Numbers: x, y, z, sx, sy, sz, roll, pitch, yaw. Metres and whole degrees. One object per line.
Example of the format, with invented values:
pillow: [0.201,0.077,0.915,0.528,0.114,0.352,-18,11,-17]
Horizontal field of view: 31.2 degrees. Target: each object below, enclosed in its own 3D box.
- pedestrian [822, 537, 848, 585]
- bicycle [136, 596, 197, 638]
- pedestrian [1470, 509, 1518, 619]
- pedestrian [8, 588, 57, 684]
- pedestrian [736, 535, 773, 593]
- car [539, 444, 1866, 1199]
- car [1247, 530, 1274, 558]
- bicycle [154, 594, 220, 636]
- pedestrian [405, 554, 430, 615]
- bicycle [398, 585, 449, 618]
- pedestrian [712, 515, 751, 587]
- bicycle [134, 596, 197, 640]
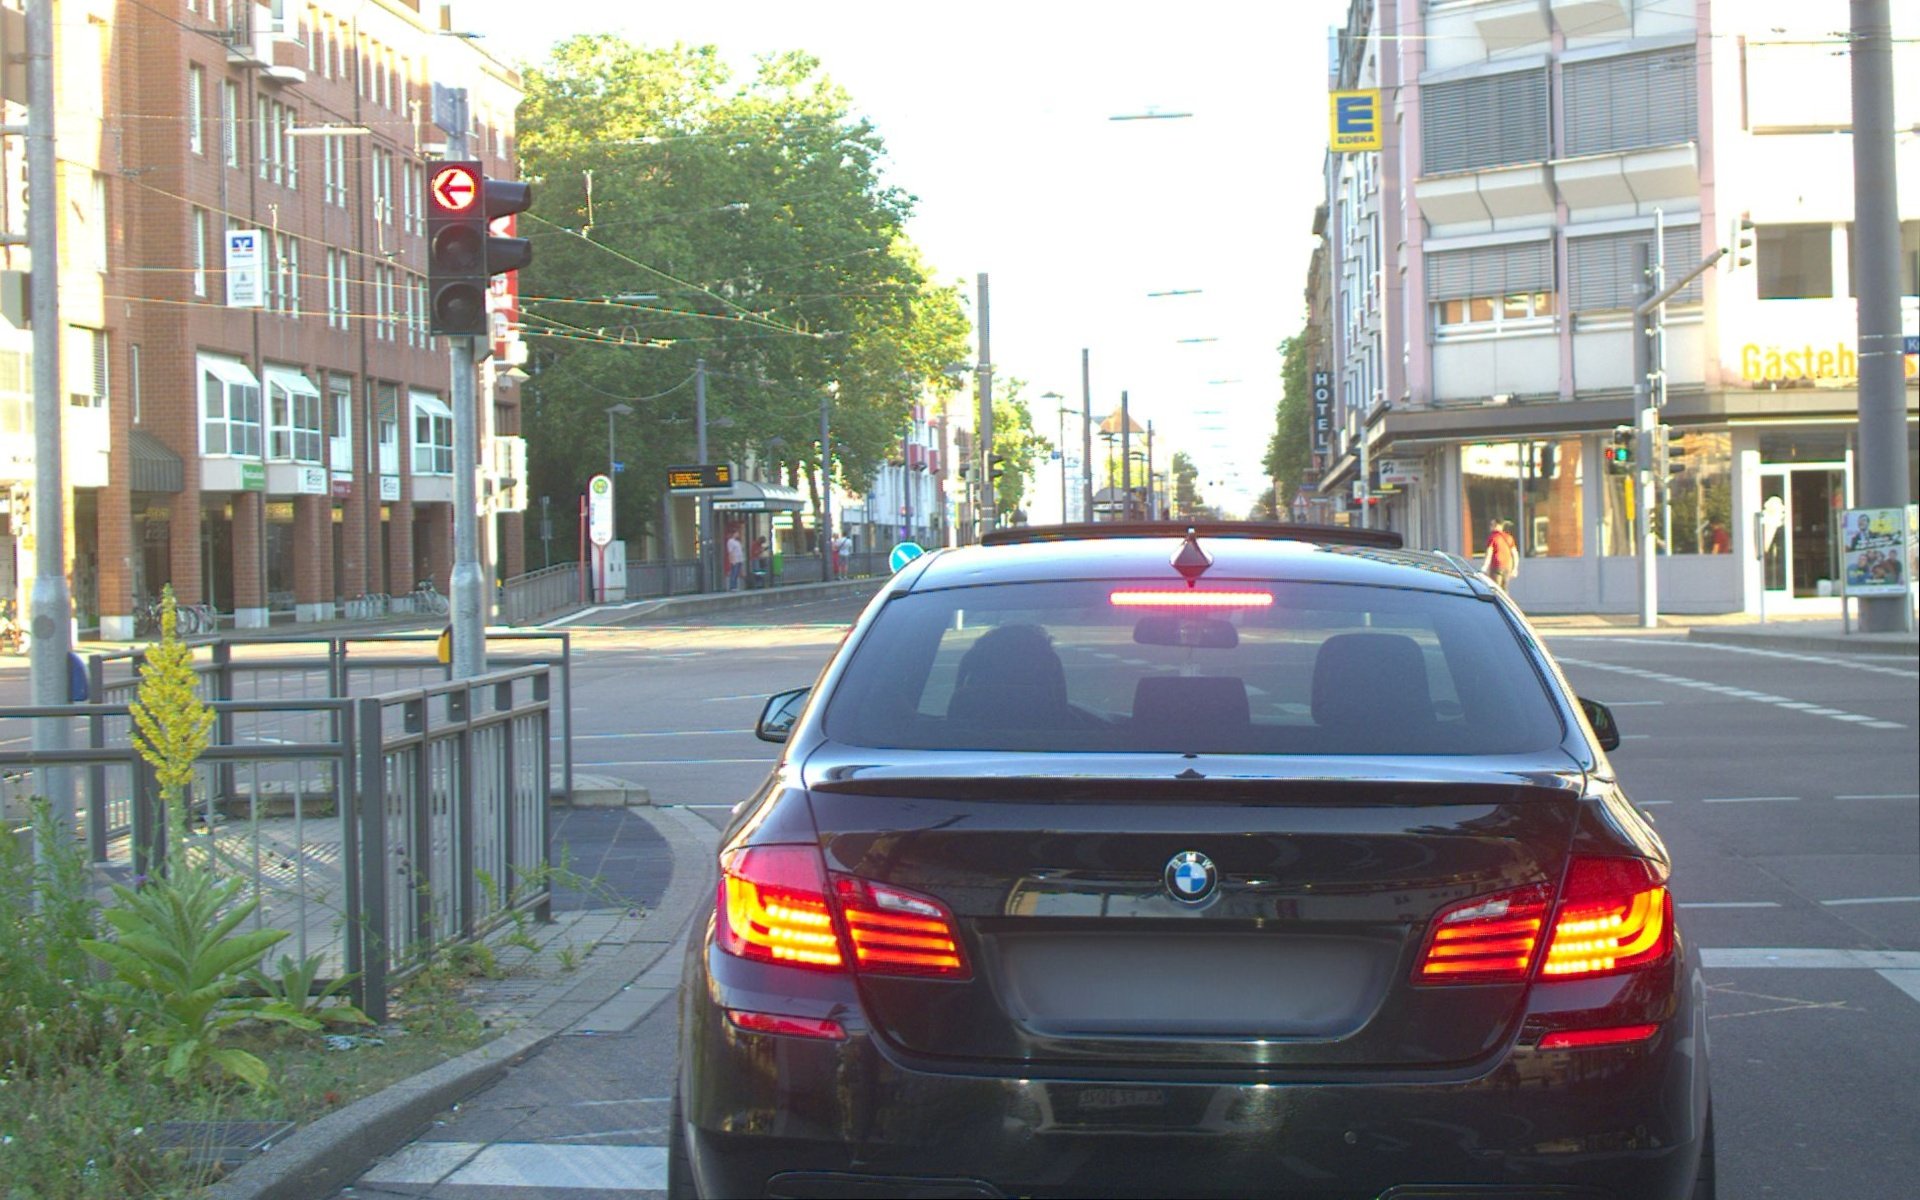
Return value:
pedestrian: [-4.379,-1.380,120.840,0.724,1.675,0.991,-1,1,7]
bicycle: [-17.366,0.374,75.222,1.285,0.919,0.349,0,1,-11]
pedestrian: [9.050,-0.611,58.308,0.684,1.848,0.671,-1,1,1]
pedestrian: [-18.423,0.708,68.292,0.633,1.861,0.677,1,1,31]
pedestrian: [-6.039,-1.059,101.070,0.988,1.675,0.726,-1,1,4]
car: [0.401,0.521,7.228,1.993,1.579,4.000,1,1,1]
car: [17.046,-3.188,195.020,1.473,1.509,3.095,-1,1,4]
bicycle: [-17.195,0.334,76.538,1.412,0.919,0.444,0,1,-11]
pedestrian: [-15.114,-0.433,95.816,0.486,1.675,0.655,-1,1,9]
bicycle: [-15.155,0.040,97.050,1.412,0.919,0.403,0,1,-8]
pedestrian: [-6.378,-1.364,95.937,0.988,2.007,0.726,0,1,4]
bicycle: [-17.222,0.387,74.554,1.286,0.919,0.349,1,1,2]
